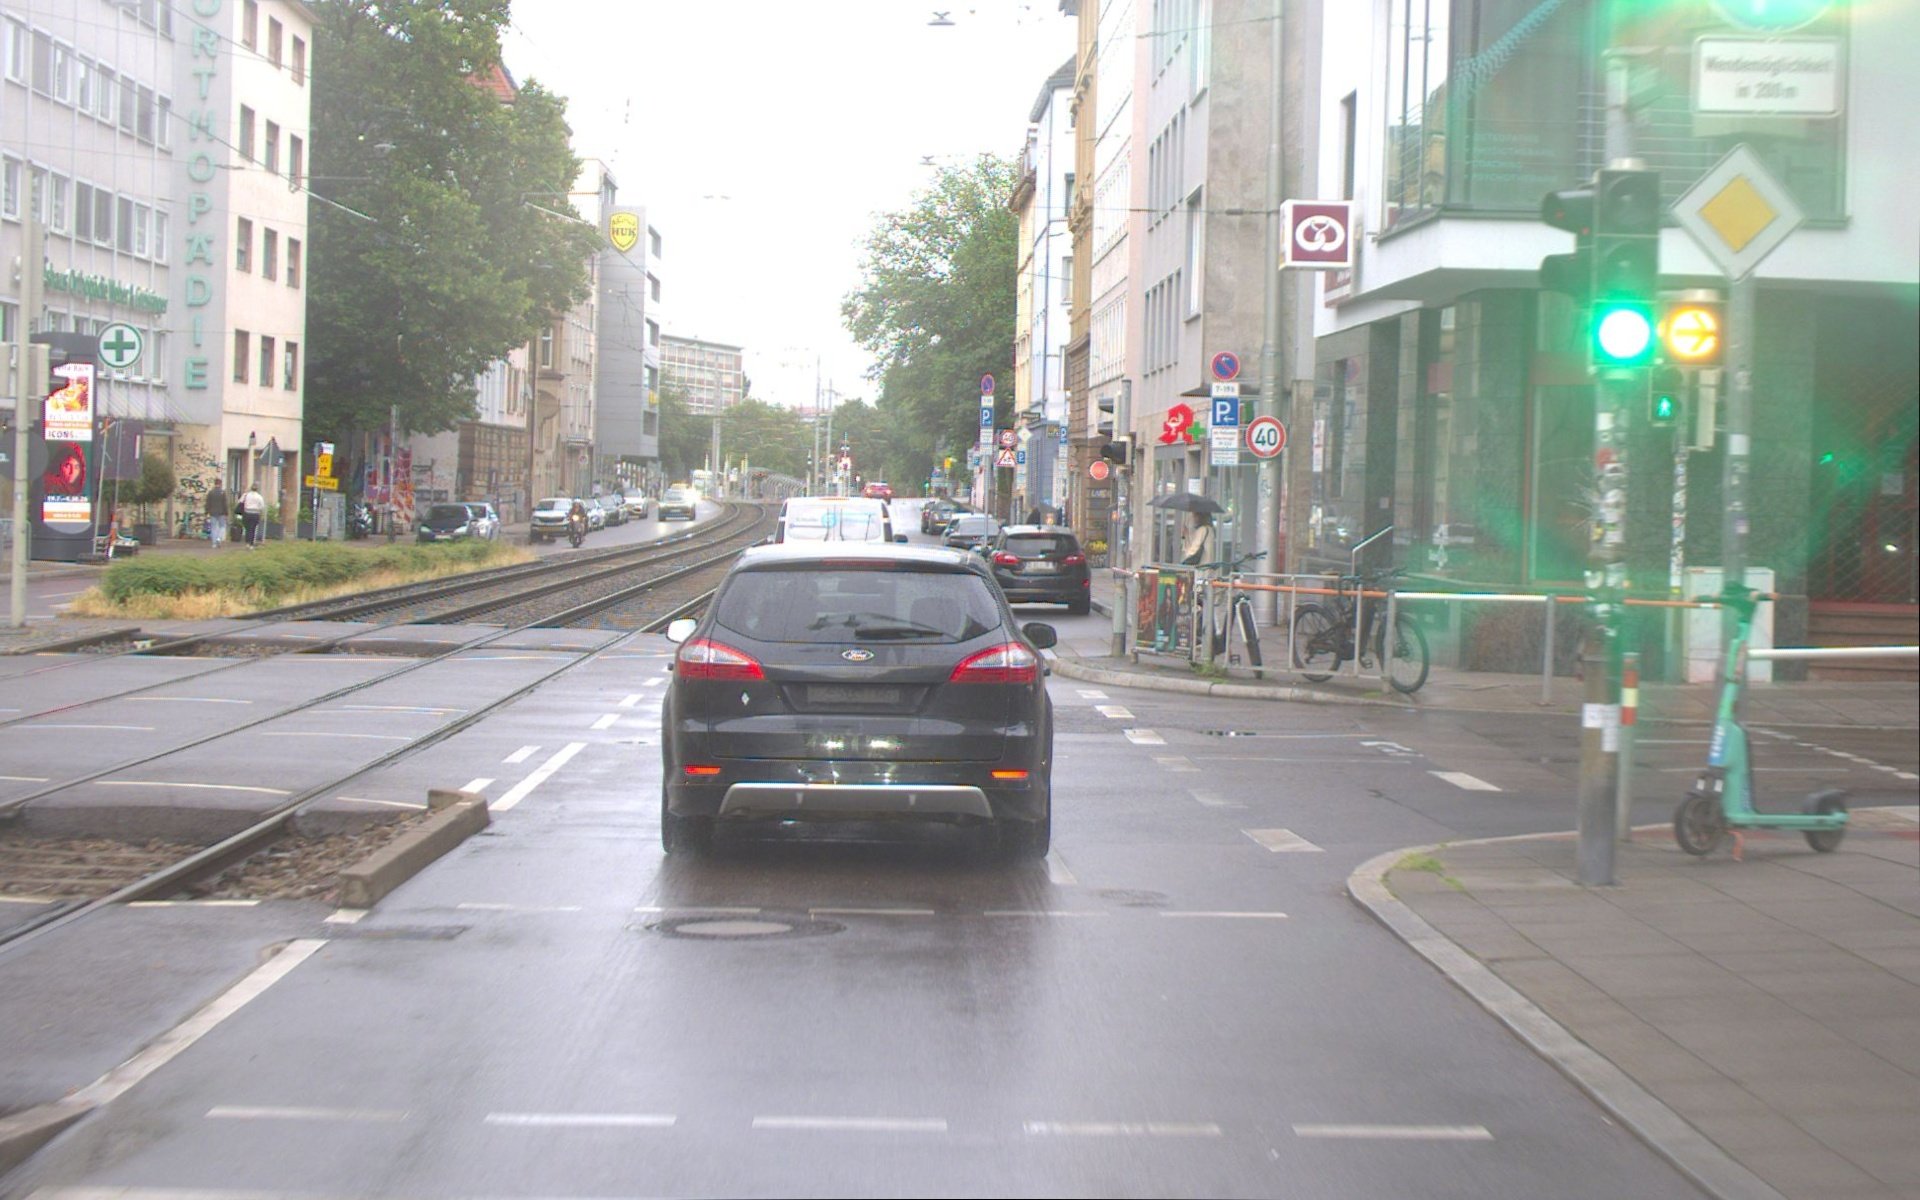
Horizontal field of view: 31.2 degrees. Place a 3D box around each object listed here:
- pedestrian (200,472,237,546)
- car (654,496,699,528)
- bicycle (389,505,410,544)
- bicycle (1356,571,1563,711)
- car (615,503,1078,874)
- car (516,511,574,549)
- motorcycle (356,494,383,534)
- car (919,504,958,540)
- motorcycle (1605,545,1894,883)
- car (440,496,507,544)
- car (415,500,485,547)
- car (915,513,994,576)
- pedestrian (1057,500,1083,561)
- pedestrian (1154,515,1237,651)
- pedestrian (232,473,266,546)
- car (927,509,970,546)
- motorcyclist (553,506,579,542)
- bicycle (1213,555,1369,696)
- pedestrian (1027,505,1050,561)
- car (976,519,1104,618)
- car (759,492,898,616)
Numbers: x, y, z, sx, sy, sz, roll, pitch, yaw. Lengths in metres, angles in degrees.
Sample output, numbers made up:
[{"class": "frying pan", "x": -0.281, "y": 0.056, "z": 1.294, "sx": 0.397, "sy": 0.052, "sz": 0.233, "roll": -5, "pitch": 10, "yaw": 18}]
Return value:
[{"class": "pedestrian", "x": -19.349, "y": -2.373, "z": 89.678, "sx": 0.727, "sy": 1.889, "sz": 0.983, "roll": 2, "pitch": 1, "yaw": -1}, {"class": "car", "x": -14.660, "y": -4.558, "z": 177.985, "sx": 1.993, "sy": 1.514, "sz": 4.444, "roll": 2, "pitch": 0, "yaw": -1}, {"class": "bicycle", "x": -17.736, "y": -2.390, "z": 108.827, "sx": 0.590, "sy": 1.222, "sz": 2.404, "roll": 2, "pitch": 1, "yaw": -8}, {"class": "bicycle", "x": 4.465, "y": 0.355, "z": 30.846, "sx": 0.576, "sy": 1.153, "sz": 1.956, "roll": 1, "pitch": 2, "yaw": -37}, {"class": "car", "x": -0.522, "y": 0.349, "z": 17.107, "sx": 1.993, "sy": 1.588, "sz": 4.272, "roll": 1, "pitch": 1, "yaw": -1}, {"class": "car", "x": -17.482, "y": -2.961, "z": 144.964, "sx": 1.993, "sy": 1.514, "sz": 4.436, "roll": 2, "pitch": 2, "yaw": -1}, {"class": "motorcycle", "x": -21.009, "y": -3.059, "z": 122.314, "sx": 0.639, "sy": 1.374, "sz": 2.120, "roll": 2, "pitch": 2, "yaw": -3}, {"class": "car", "x": -0.978, "y": -3.568, "z": 156.999, "sx": 1.642, "sy": 1.510, "sz": 4.040, "roll": 1, "pitch": 2, "yaw": -2}, {"class": "motorcycle", "x": 3.568, "y": 0.490, "z": 15.525, "sx": 1.129, "sy": 1.456, "sz": 0.684, "roll": 0, "pitch": 1, "yaw": -37}, {"class": "car", "x": -16.486, "y": -2.725, "z": 116.611, "sx": 1.721, "sy": 1.565, "sz": 4.220, "roll": 2, "pitch": 2, "yaw": -1}, {"class": "car", "x": -16.554, "y": -2.505, "z": 111.666, "sx": 1.744, "sy": 1.463, "sz": 4.220, "roll": 0, "pitch": 2, "yaw": -1}, {"class": "car", "x": -0.172, "y": -1.445, "z": 89.530, "sx": 1.993, "sy": 1.588, "sz": 4.572, "roll": 1, "pitch": 1, "yaw": -1}, {"class": "pedestrian", "x": 3.672, "y": -2.324, "z": 114.742, "sx": 0.736, "sy": 2.006, "sz": 0.821, "roll": 1, "pitch": 2, "yaw": -2}, {"class": "pedestrian", "x": 2.764, "y": -0.209, "z": 40.413, "sx": 0.659, "sy": 1.577, "sz": 0.780, "roll": 0, "pitch": 1, "yaw": -23}, {"class": "pedestrian", "x": -18.512, "y": -2.360, "z": 89.533, "sx": 0.678, "sy": 1.889, "sz": 0.743, "roll": 2, "pitch": 1, "yaw": -1}, {"class": "car", "x": -0.504, "y": -3.226, "z": 152.246, "sx": 1.738, "sy": 1.484, "sz": 4.001, "roll": 1, "pitch": 2, "yaw": -2}, {"class": "motorcyclist", "x": -13.609, "y": -2.632, "z": 118.870, "sx": 0.741, "sy": 1.213, "sz": 0.970, "roll": 2, "pitch": 1, "yaw": 1}, {"class": "bicycle", "x": 3.134, "y": 0.229, "z": 32.695, "sx": 0.497, "sy": 1.254, "sz": 1.957, "roll": 1, "pitch": 1, "yaw": -26}, {"class": "pedestrian", "x": 2.610, "y": -2.243, "z": 114.607, "sx": 0.661, "sy": 1.845, "sz": 0.821, "roll": 1, "pitch": 2, "yaw": -2}, {"class": "car", "x": 1.309, "y": -0.554, "z": 58.091, "sx": 1.993, "sy": 1.588, "sz": 4.272, "roll": 1, "pitch": 1, "yaw": -1}, {"class": "car", "x": -1.978, "y": -0.712, "z": 52.839, "sx": 1.993, "sy": 1.810, "sz": 4.272, "roll": 1, "pitch": 1, "yaw": -1}]
